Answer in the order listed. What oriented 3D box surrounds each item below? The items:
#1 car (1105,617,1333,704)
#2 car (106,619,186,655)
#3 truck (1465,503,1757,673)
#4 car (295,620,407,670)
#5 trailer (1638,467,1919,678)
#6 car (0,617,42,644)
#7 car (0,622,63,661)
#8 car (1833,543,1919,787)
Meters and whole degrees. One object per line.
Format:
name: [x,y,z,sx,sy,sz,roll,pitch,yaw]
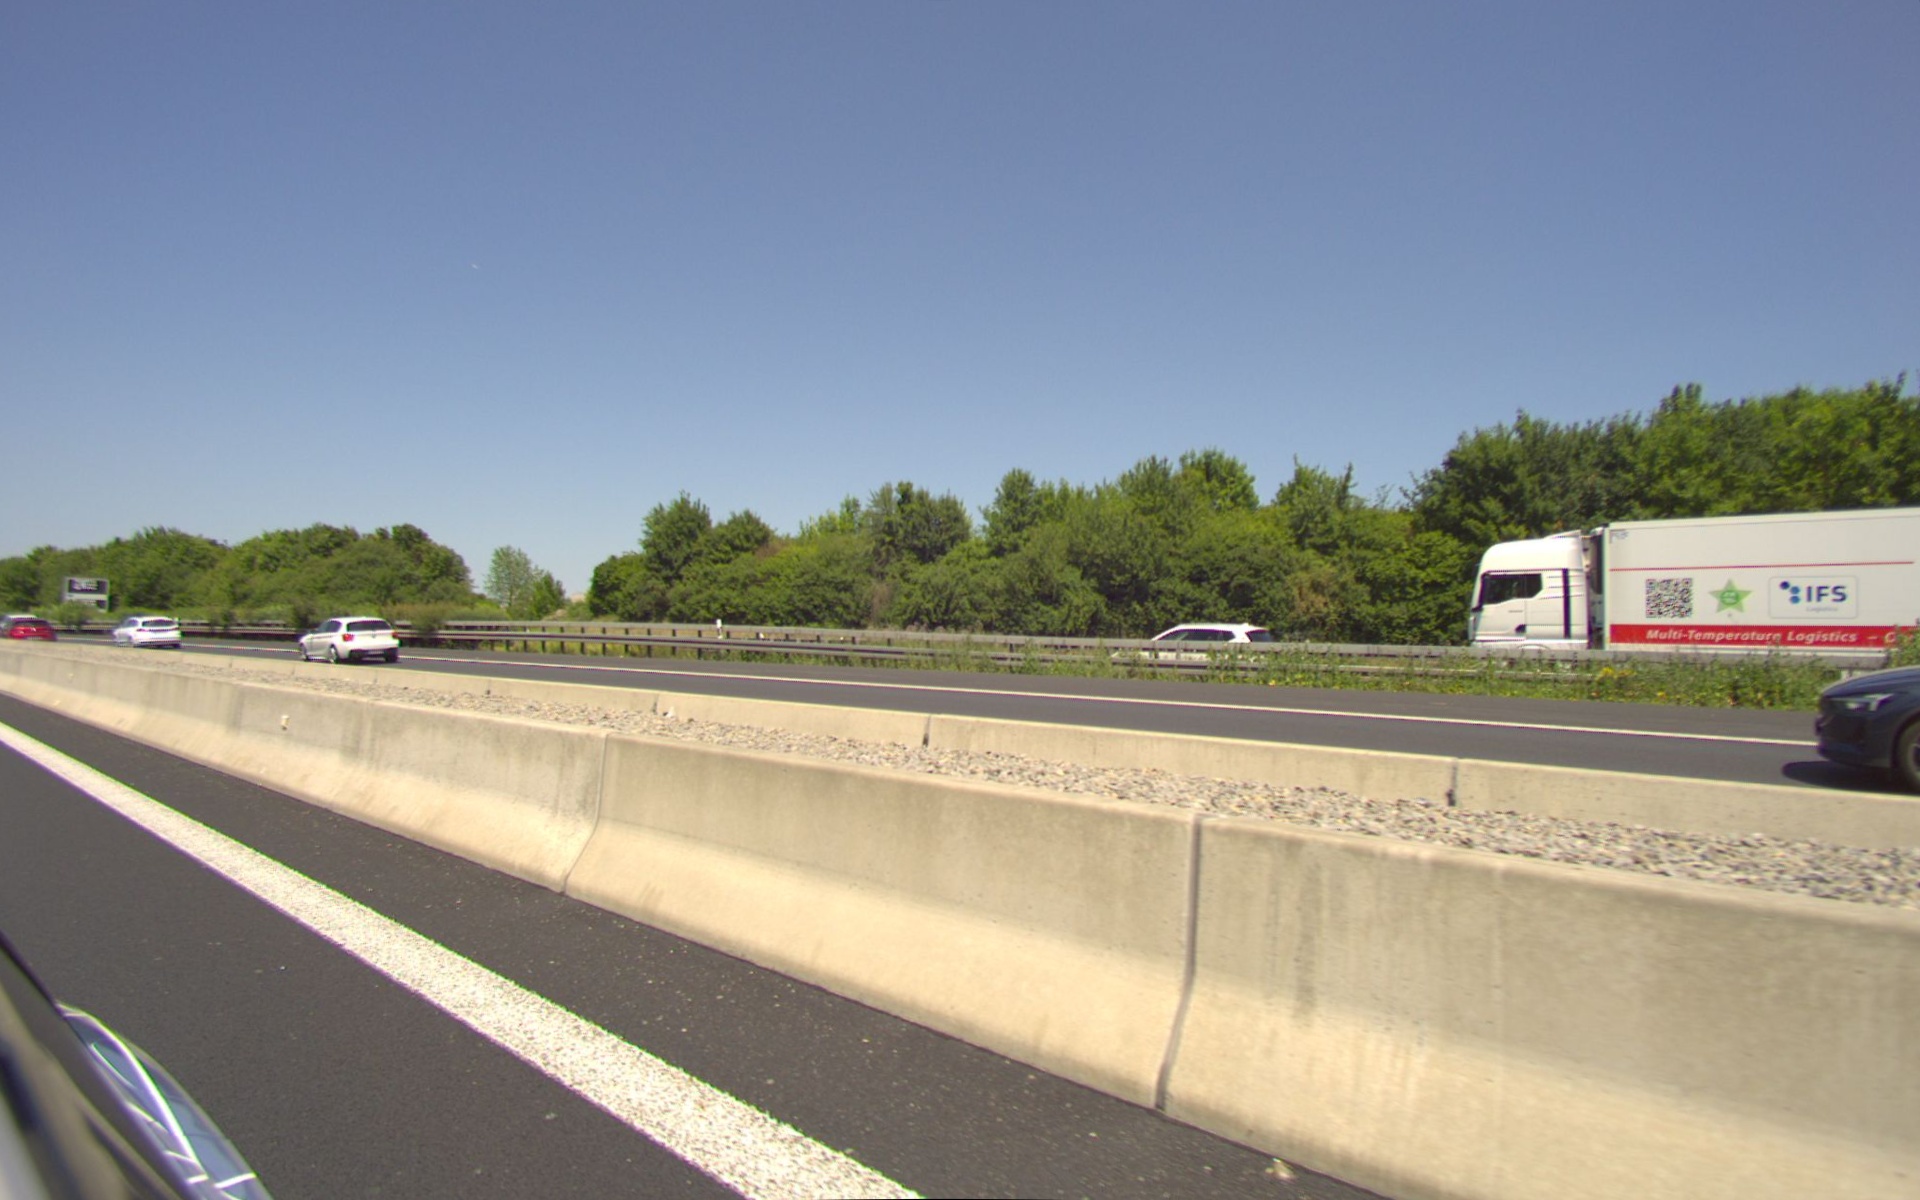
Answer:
car: [6.536,1.468,25.880,5.310,2.029,1.975,-1,-2,36]
car: [-37.898,1.682,47.082,5.037,1.555,1.973,-1,-1,40]
truck: [15.343,-0.214,24.011,5.408,3.530,3.050,-1,-1,42]
car: [-18.996,1.357,31.510,3.997,1.405,1.831,-1,0,41]
trailer: [21.212,-0.535,18.742,14.082,4.027,3.075,-1,-1,42]
car: [-60.135,1.904,64.377,4.658,1.678,1.850,-1,-1,39]
car: [-43.017,1.856,46.553,4.630,1.671,1.973,-1,-1,40]
car: [9.356,0.481,7.071,4.903,1.838,1.973,-1,-1,41]
